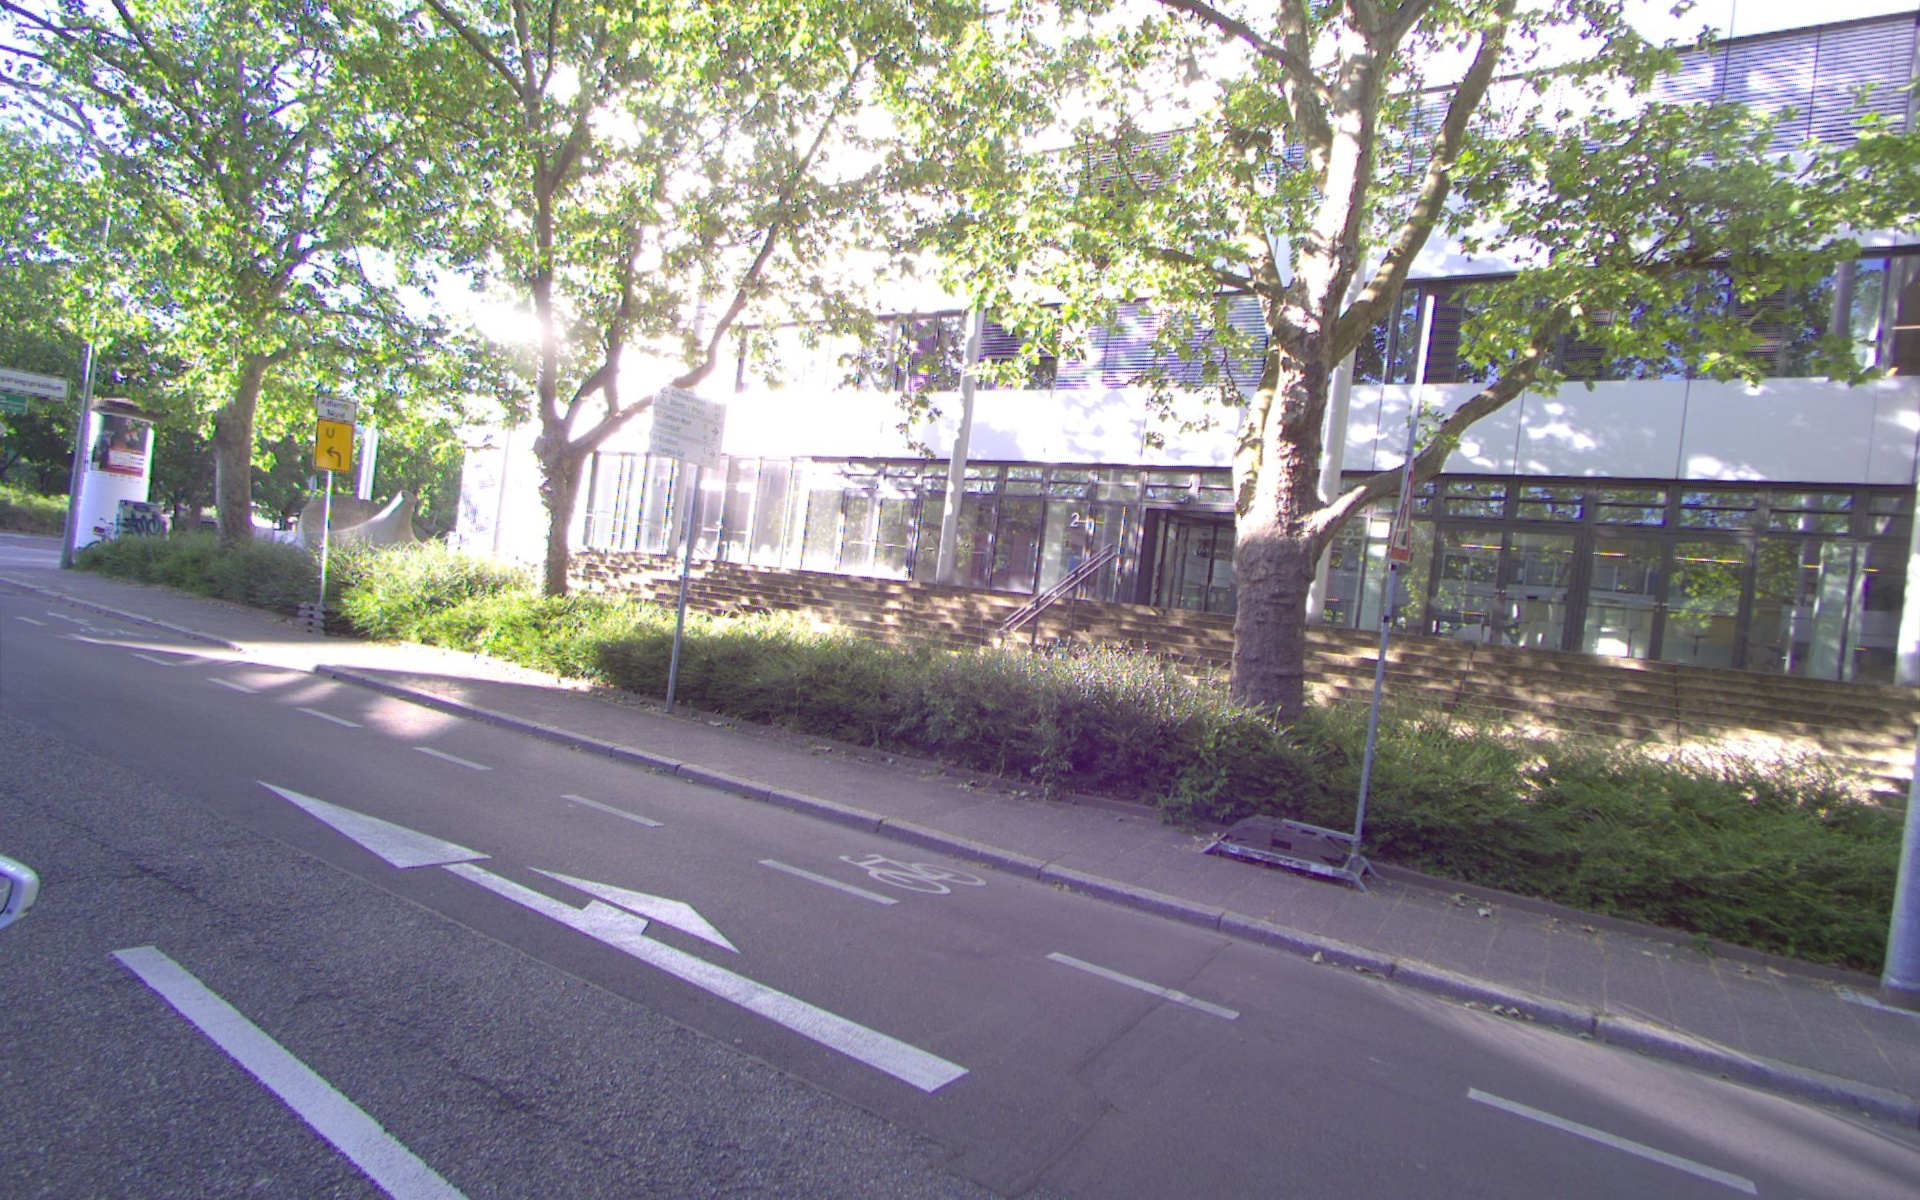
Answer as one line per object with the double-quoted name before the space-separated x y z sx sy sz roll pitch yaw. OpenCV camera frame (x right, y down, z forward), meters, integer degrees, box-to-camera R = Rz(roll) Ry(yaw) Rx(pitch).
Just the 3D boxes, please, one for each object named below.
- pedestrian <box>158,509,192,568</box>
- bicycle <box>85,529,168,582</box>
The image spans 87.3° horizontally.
"pedestrian" -26.224 -2.057 33.602 0.584 1.871 0.552 7 0 33
"bicycle" -19.208 -1.015 23.199 0.357 1.036 1.354 7 -1 33
